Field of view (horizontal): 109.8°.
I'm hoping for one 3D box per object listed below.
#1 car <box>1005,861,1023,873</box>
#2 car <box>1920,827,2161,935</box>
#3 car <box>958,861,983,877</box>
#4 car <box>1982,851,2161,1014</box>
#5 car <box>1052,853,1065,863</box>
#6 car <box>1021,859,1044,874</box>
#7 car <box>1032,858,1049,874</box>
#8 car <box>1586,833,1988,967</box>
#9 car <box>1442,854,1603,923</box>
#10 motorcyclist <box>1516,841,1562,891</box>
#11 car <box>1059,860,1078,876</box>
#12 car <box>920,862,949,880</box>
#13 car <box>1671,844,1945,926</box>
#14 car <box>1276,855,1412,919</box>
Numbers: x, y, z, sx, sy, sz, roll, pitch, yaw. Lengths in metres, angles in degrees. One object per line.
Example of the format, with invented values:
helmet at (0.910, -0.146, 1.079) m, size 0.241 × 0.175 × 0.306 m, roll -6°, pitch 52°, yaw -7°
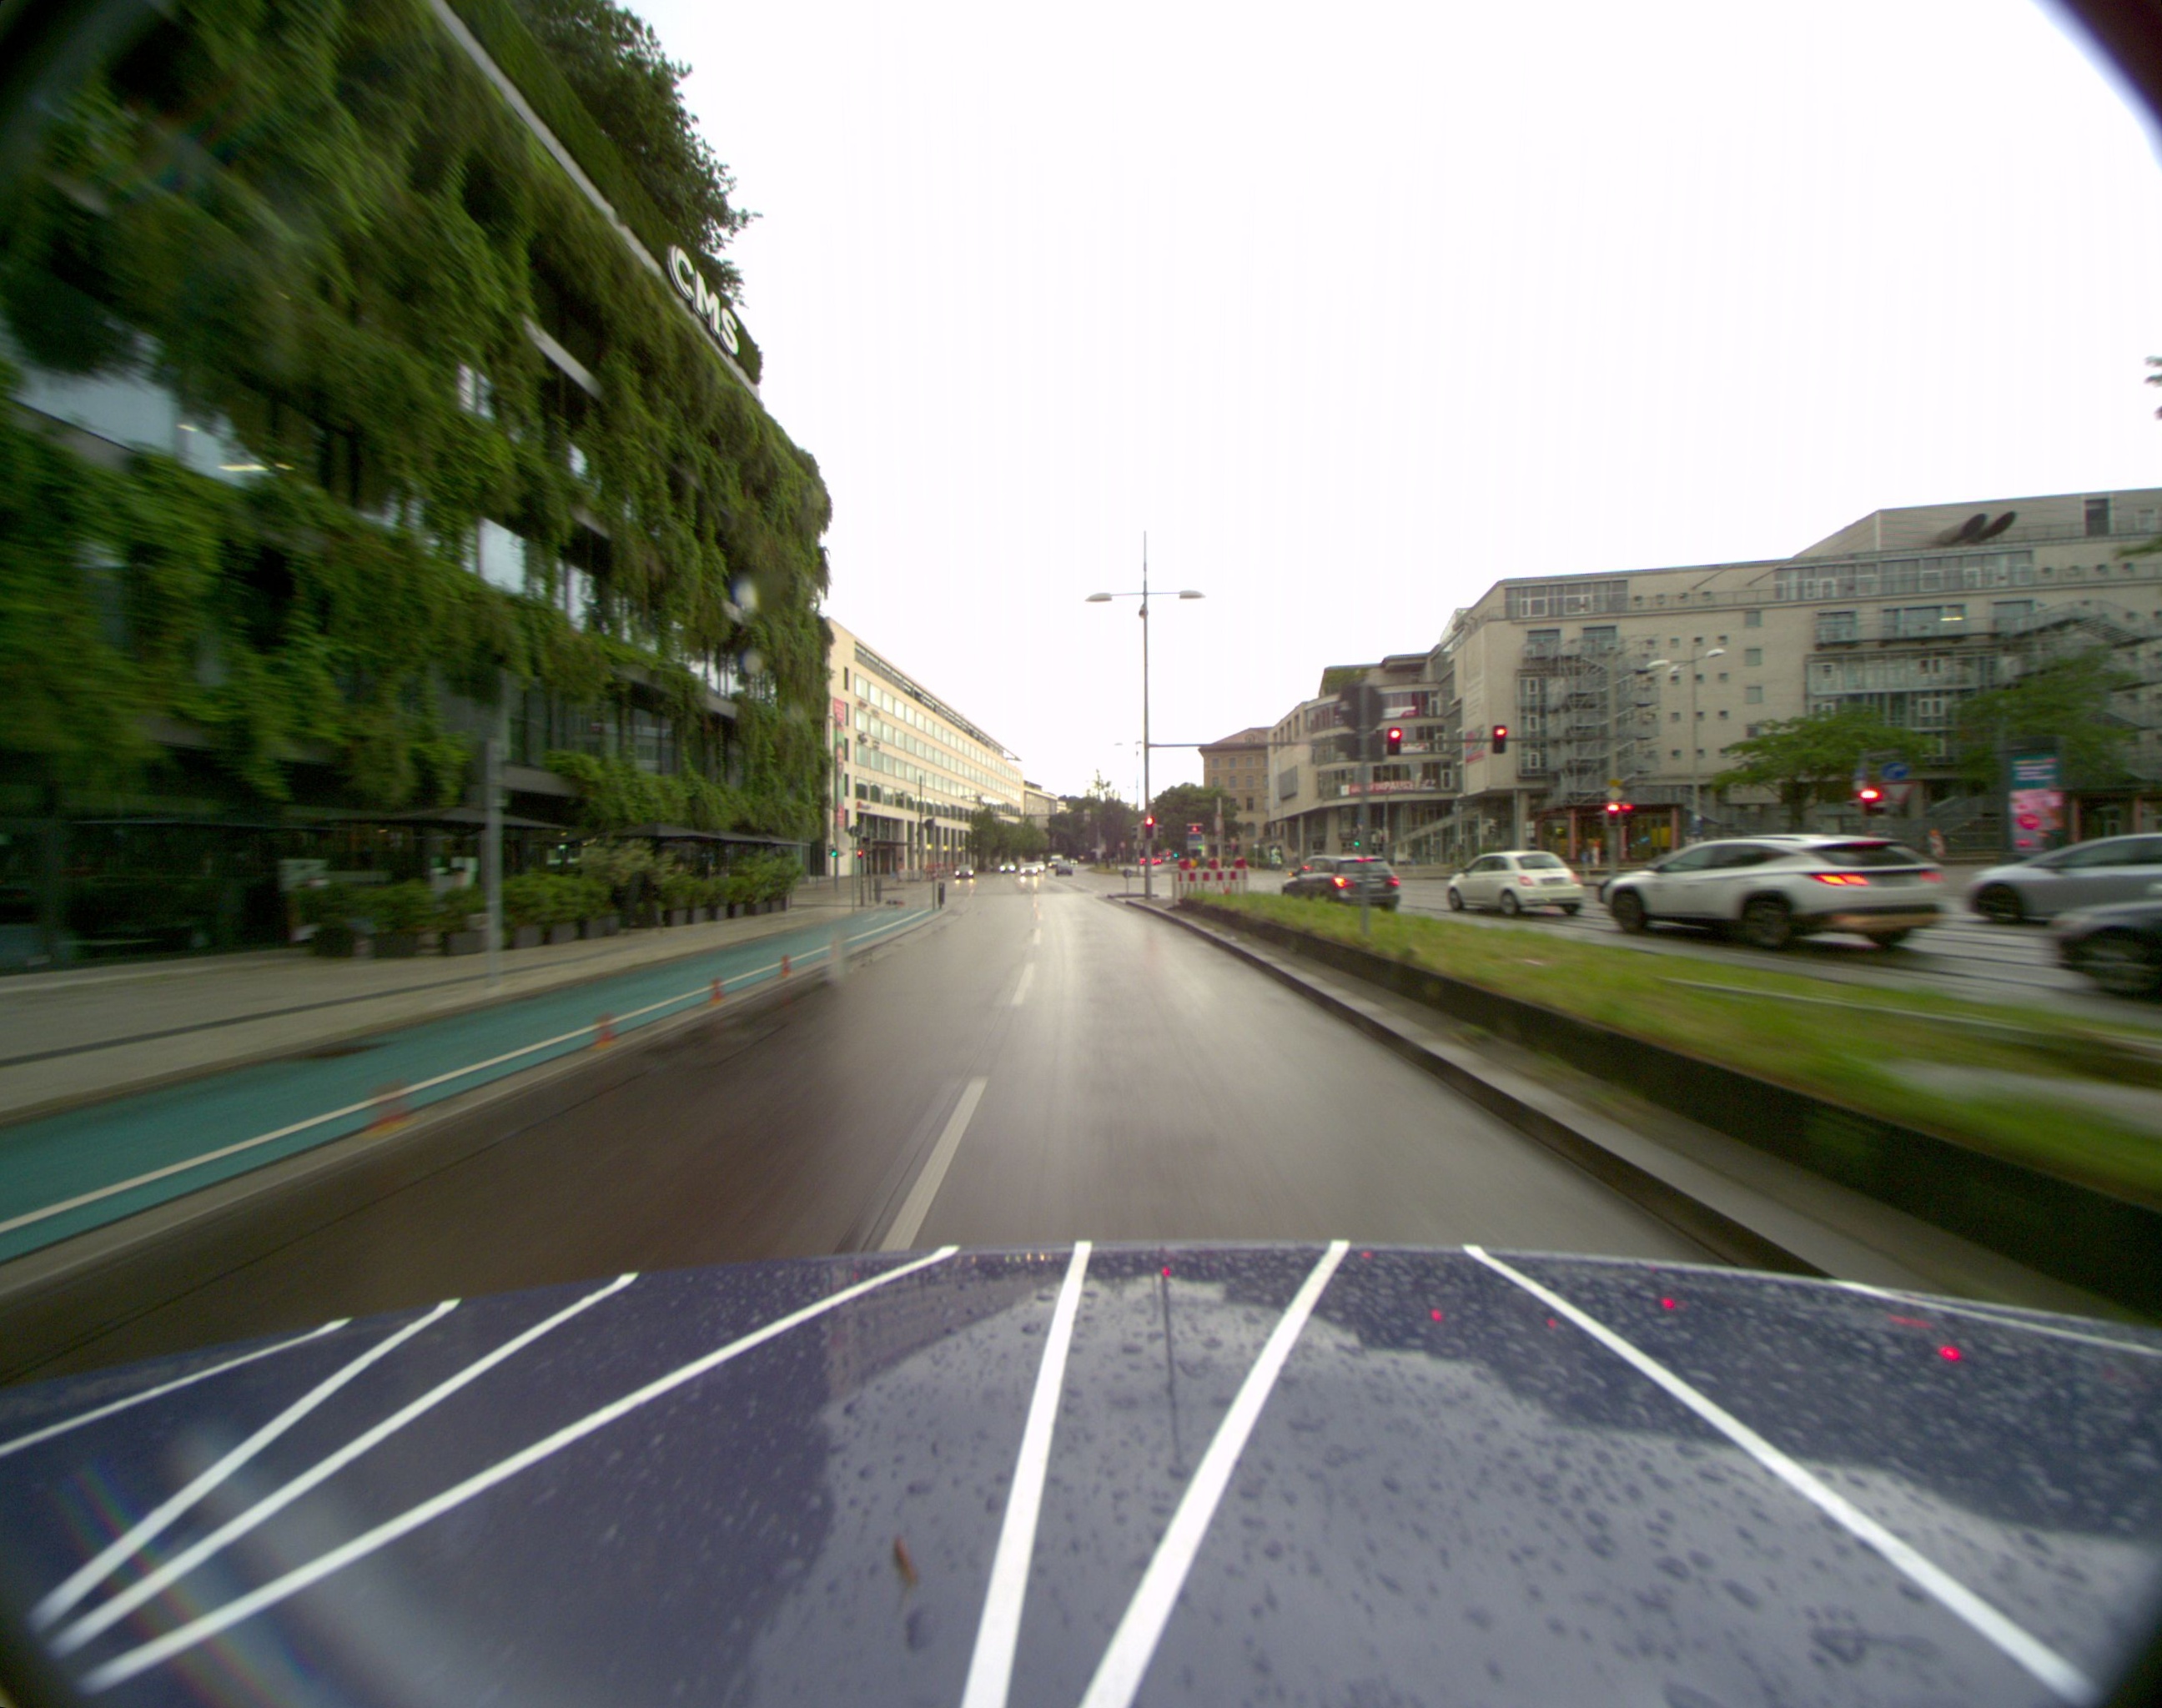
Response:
car at (-9.163, 1.769, 103.739) m, size 1.739 × 1.543 × 4.672 m, roll -1°, pitch 0°, yaw 3°
car at (17.052, 0.384, 12.210) m, size 1.999 × 1.595 × 4.587 m, roll -2°, pitch 0°, yaw -2°
car at (-11.371, 1.493, 78.431) m, size 1.739 × 1.543 × 4.671 m, roll -2°, pitch 0°, yaw 3°
car at (10.688, 0.691, 5.750) m, size 1.848 × 1.442 × 4.916 m, roll -2°, pitch -1°, yaw 0°
car at (-4.486, 0.753, 152.604) m, size 1.998 × 2.001 × 4.002 m, roll -2°, pitch 0°, yaw 6°
car at (-5.220, 1.360, 82.914) m, size 1.978 × 1.543 × 4.672 m, roll -1°, pitch 0°, yaw 3°
car at (-5.656, 1.667, 107.512) m, size 1.978 × 2.116 × 5.106 m, roll -2°, pitch 0°, yaw 1°
car at (10.683, 0.619, 12.170) m, size 1.882 × 1.675 × 4.798 m, roll -2°, pitch -1°, yaw -1°
car at (10.506, 0.779, 18.387) m, size 1.722 × 1.467 × 3.430 m, roll -2°, pitch 0°, yaw -4°
motorcyclist at (13.036, 0.342, 21.656) m, size 0.789 × 1.383 × 0.733 m, roll -2°, pitch 0°, yaw -6°
car at (-1.316, 1.414, 79.408) m, size 1.739 × 1.543 × 4.669 m, roll -1°, pitch 0°, yaw -3°
car at (-14.293, 1.640, 74.292) m, size 1.739 × 1.543 × 4.672 m, roll -1°, pitch 0°, yaw 3°
car at (16.479, 0.628, 17.654) m, size 1.762 × 1.608 × 4.660 m, roll -2°, pitch 0°, yaw -2°
car at (6.787, 0.810, 20.104) m, size 1.849 × 1.473 × 4.163 m, roll -2°, pitch -1°, yaw -5°
